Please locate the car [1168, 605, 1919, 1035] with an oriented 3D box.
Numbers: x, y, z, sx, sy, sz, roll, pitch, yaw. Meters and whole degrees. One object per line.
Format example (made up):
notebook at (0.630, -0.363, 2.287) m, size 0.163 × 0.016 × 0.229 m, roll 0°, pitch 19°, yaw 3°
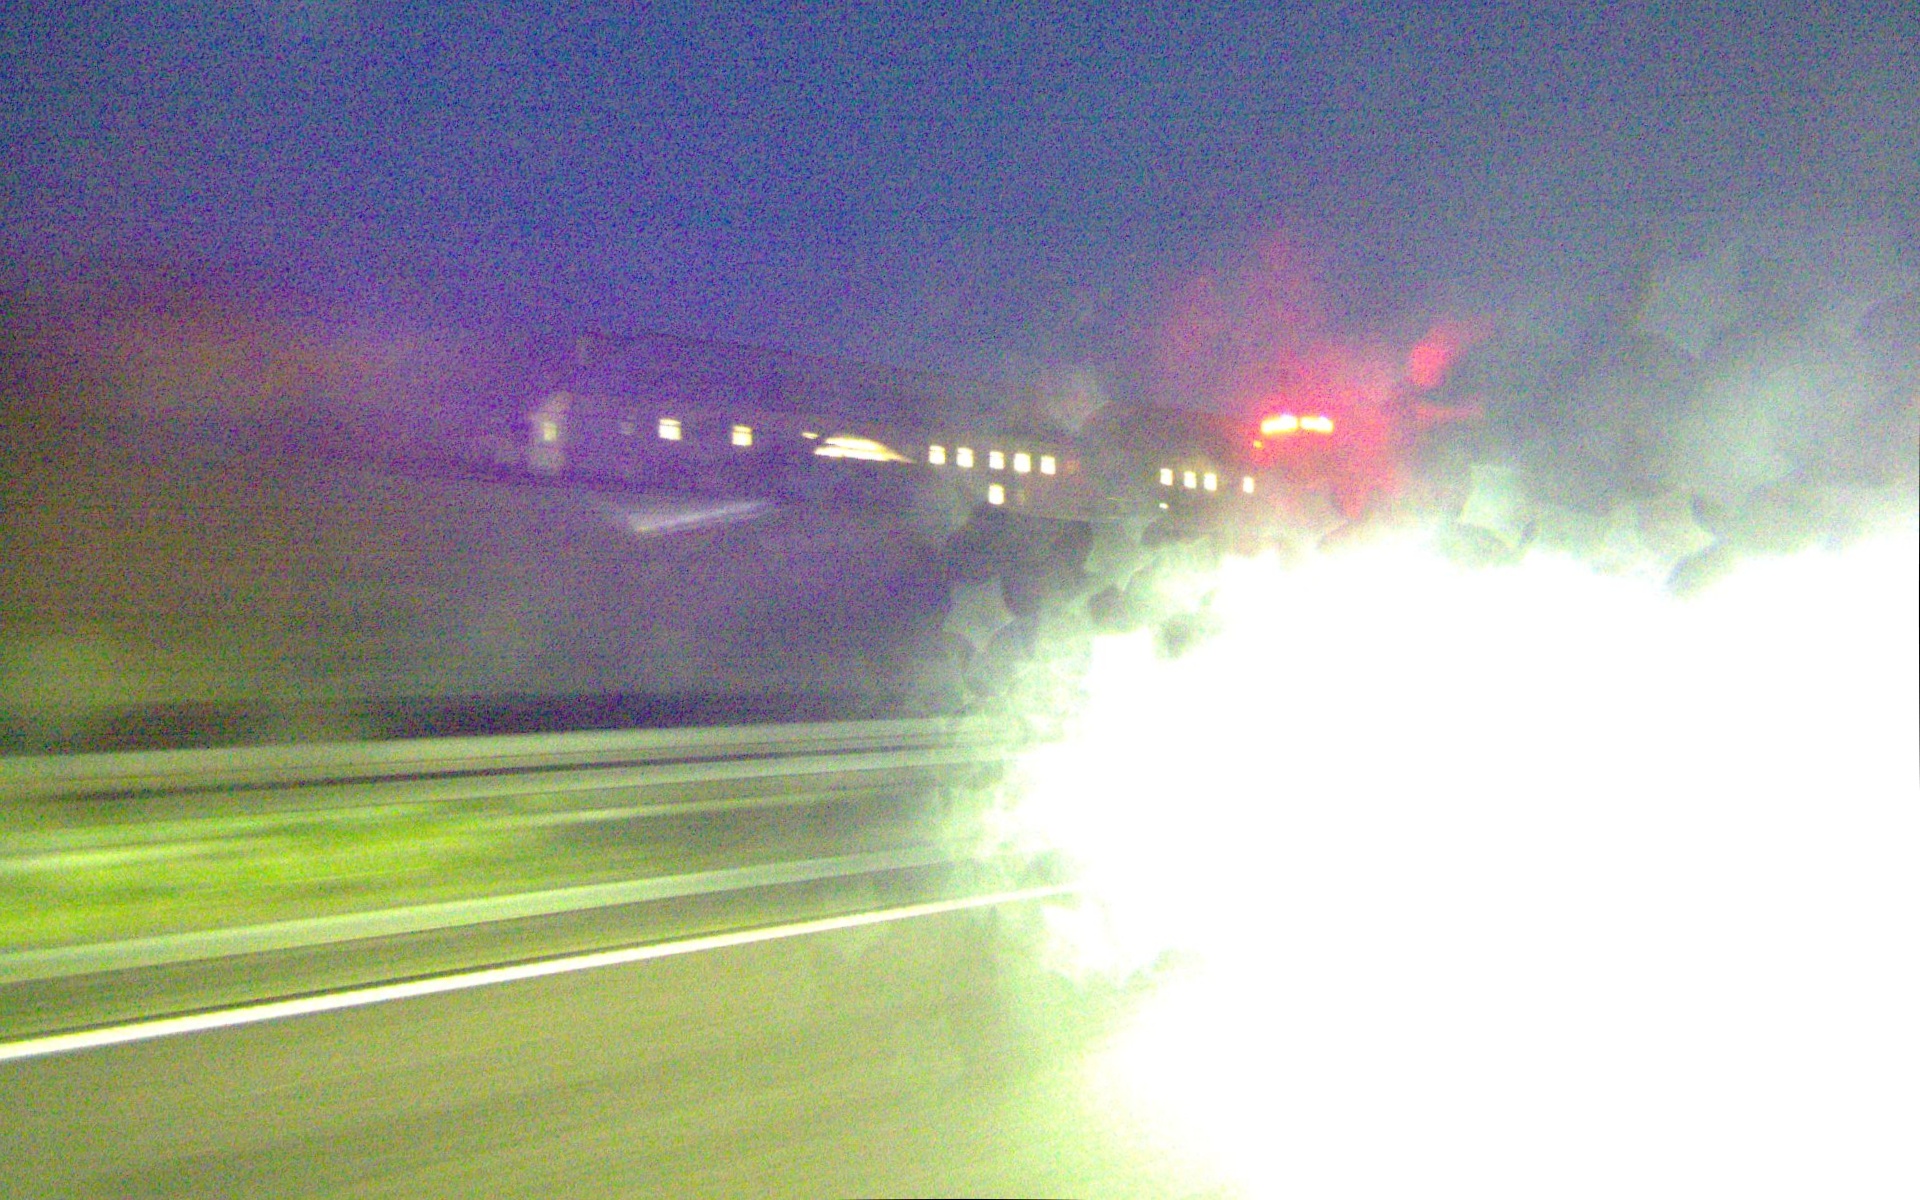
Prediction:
car at (3.371, 0.830, 5.449) m, size 4.303 × 1.502 × 1.823 m, roll 1°, pitch 0°, yaw -31°
